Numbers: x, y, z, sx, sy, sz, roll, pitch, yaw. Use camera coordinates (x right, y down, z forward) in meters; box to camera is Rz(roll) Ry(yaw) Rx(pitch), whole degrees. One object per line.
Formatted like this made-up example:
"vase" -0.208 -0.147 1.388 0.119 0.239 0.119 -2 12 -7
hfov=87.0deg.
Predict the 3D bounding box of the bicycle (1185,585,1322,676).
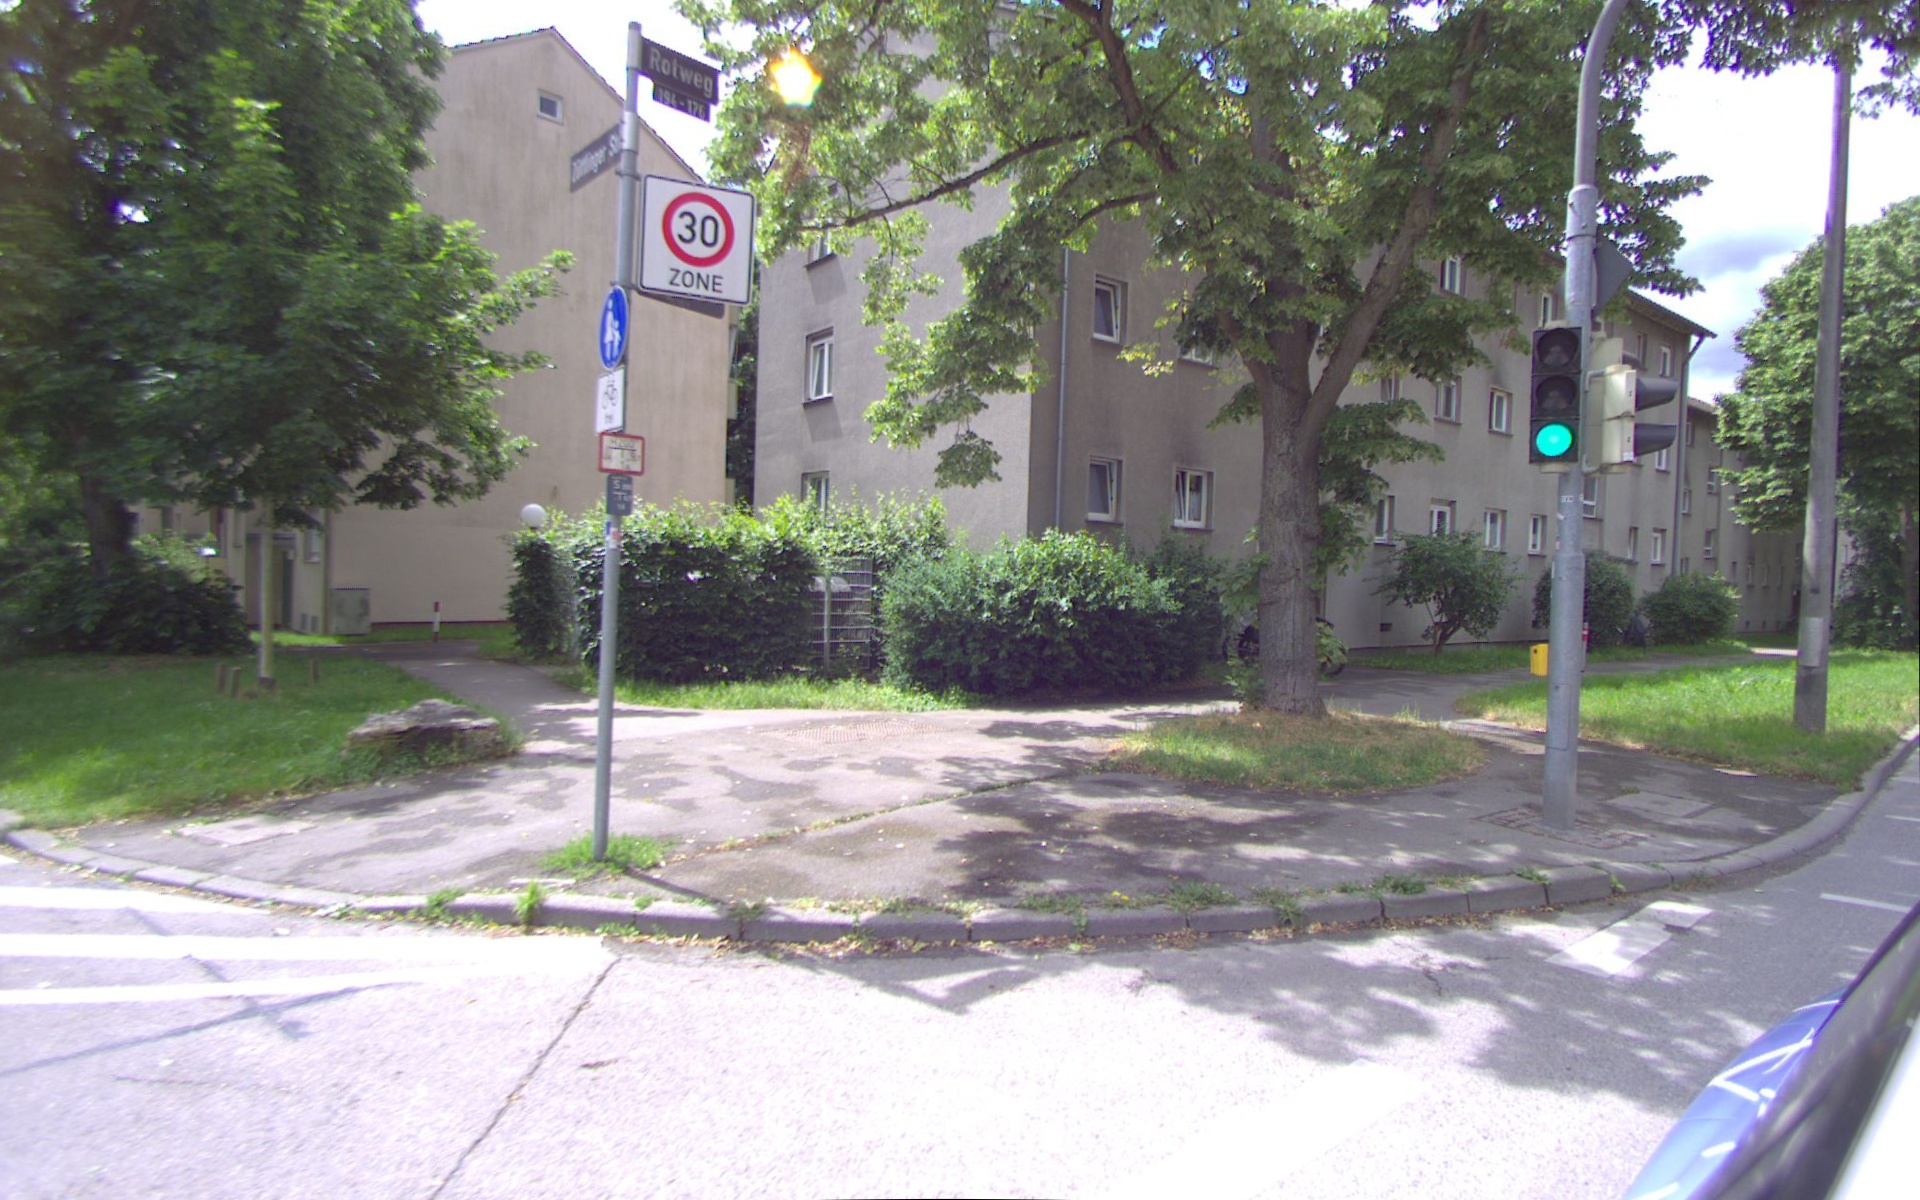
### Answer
"bicycle" 4.662 0.448 16.253 0.667 1.298 2.175 0 2 -34

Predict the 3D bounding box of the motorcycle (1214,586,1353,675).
"motorcycle" 5.258 0.456 16.622 0.667 1.298 2.213 0 2 -34

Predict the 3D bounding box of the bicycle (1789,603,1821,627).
"bicycle" 41.001 0.731 49.138 0.430 1.094 1.748 0 1 12

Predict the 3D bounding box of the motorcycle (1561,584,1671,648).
"motorcycle" 16.227 0.367 25.080 0.997 1.447 2.006 1 2 -32

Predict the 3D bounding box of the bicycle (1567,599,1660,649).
"bicycle" 15.648 0.557 24.281 0.446 1.098 1.803 1 2 -37
